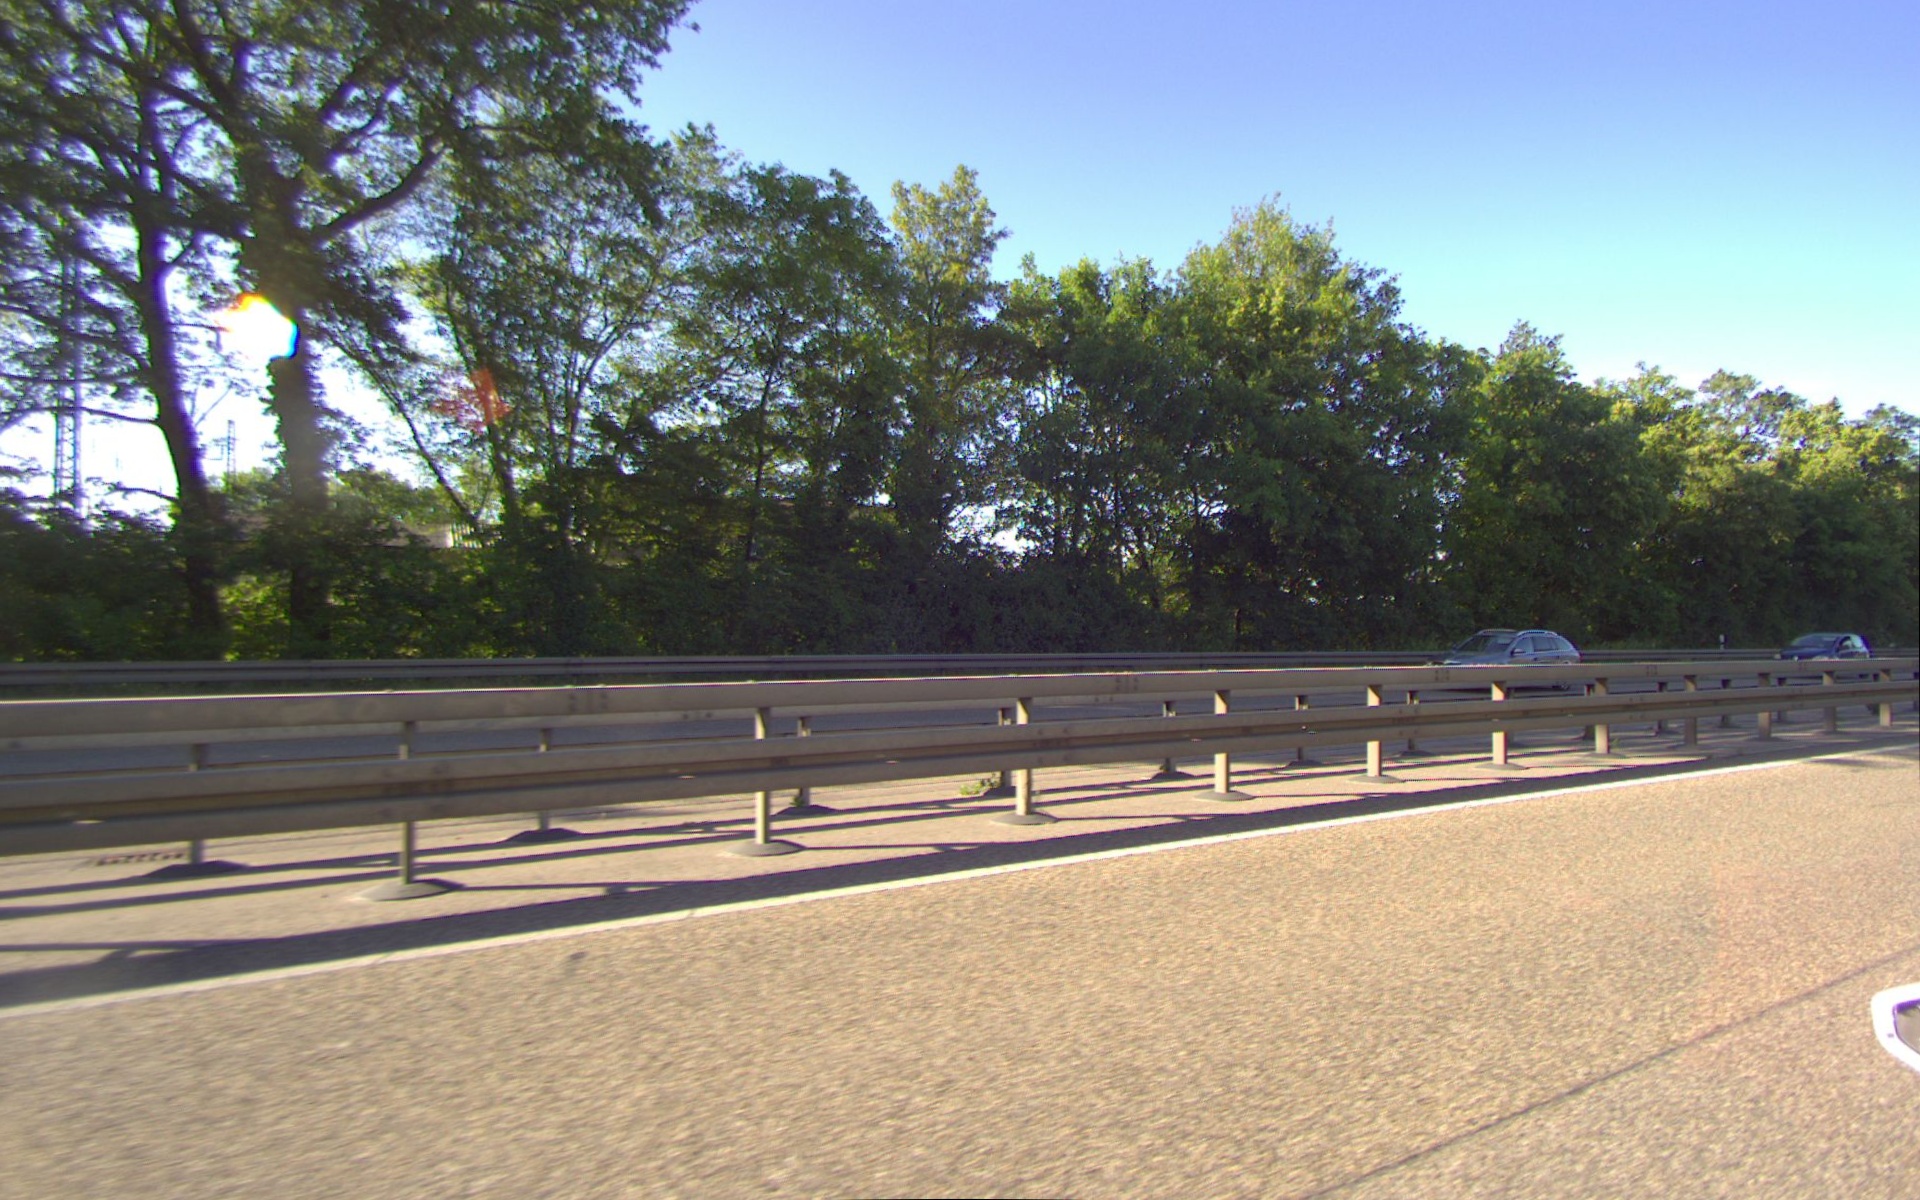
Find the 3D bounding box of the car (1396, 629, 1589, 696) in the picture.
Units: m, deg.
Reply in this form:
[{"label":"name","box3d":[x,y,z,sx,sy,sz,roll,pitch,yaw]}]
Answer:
[{"label":"car","box3d":[13.510,1.533,25.405,4.928,1.486,2.061,1,0,-31]}]

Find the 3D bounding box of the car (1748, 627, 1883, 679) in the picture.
[{"label":"car","box3d":[29.694,1.809,34.825,5.000,1.635,2.061,1,0,-31]}]
